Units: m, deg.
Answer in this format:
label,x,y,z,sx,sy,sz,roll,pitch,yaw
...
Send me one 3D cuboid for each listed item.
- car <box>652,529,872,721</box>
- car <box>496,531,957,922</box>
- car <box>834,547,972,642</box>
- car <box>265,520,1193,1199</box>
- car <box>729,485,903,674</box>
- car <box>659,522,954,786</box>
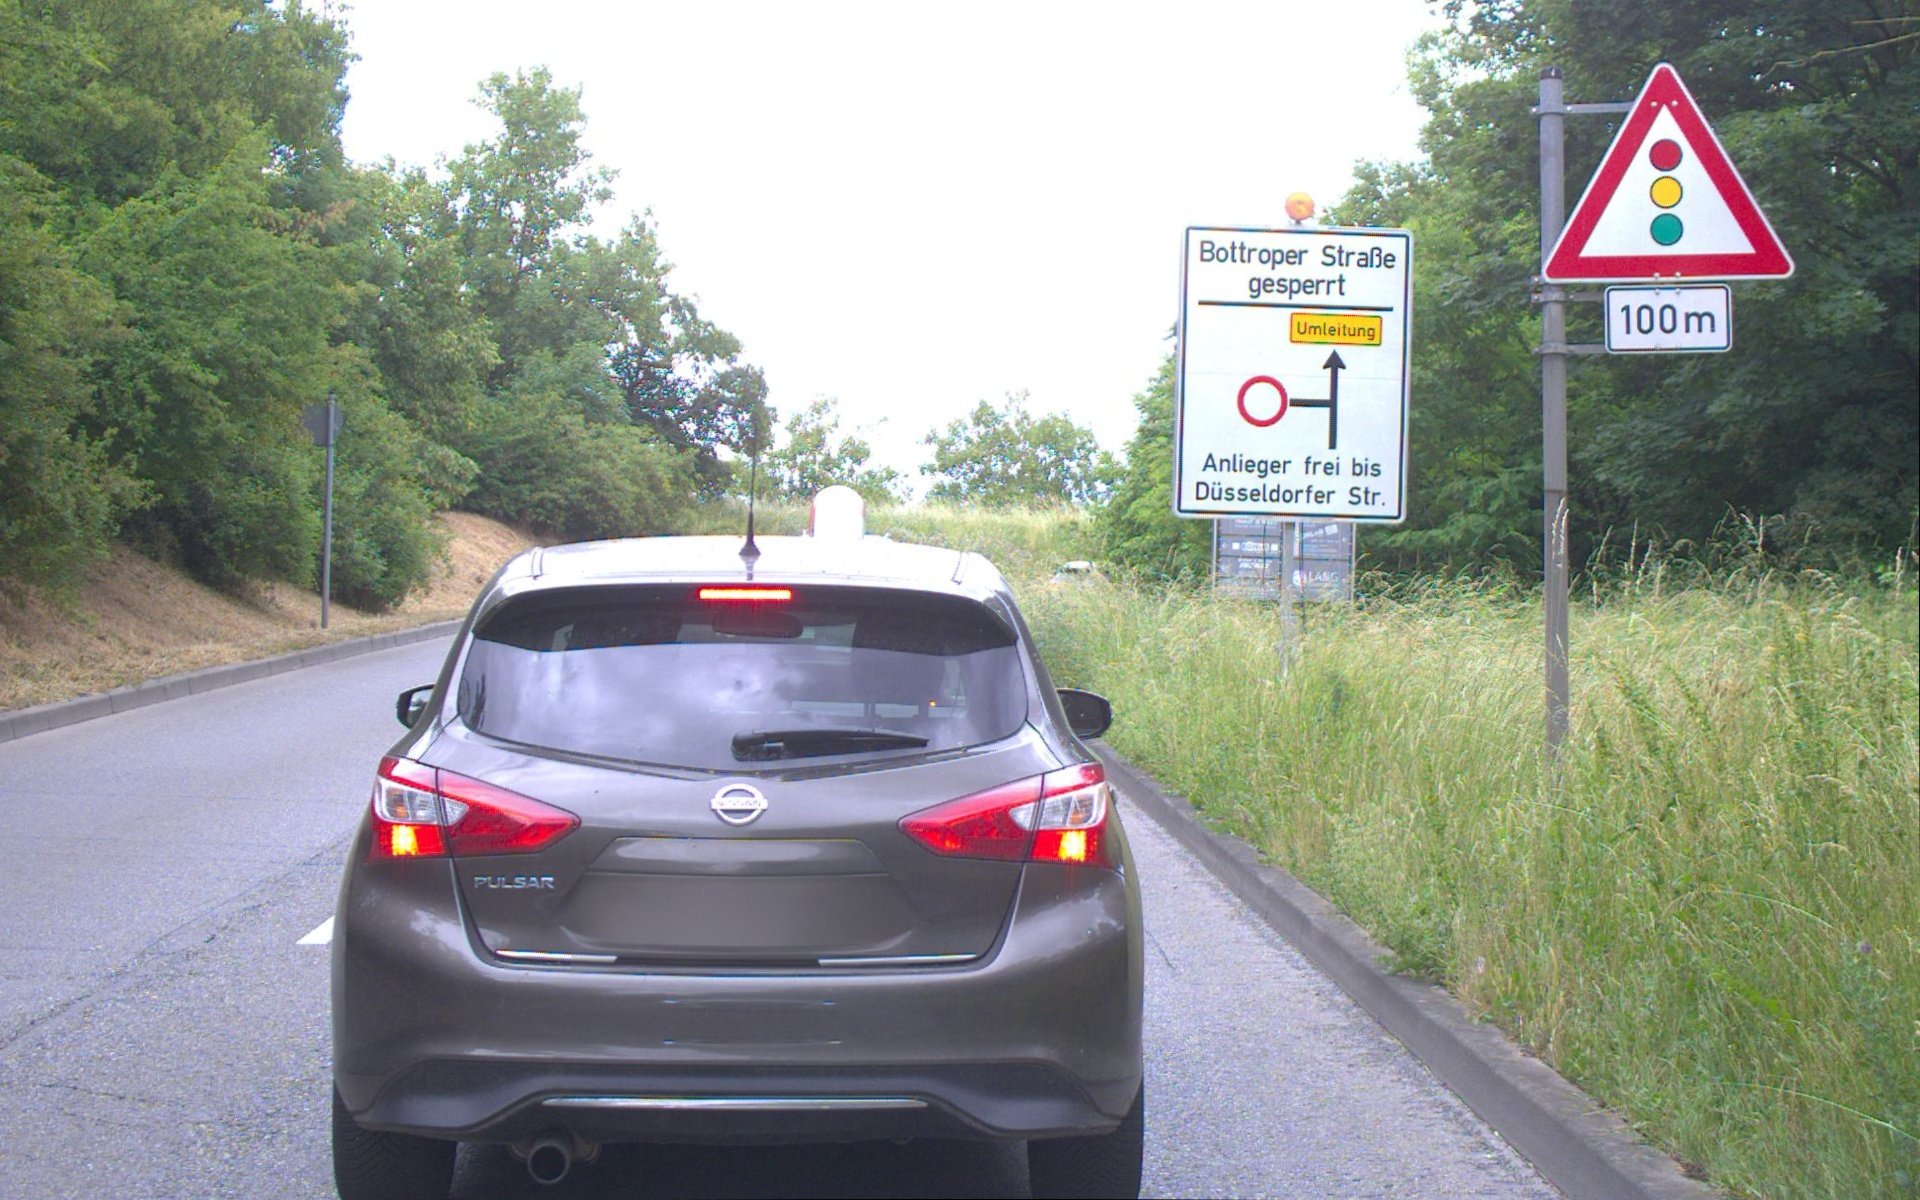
label,x,y,z,sx,sy,sz,roll,pitch,yaw
car,-1.649,0.168,29.680,1.736,1.551,3.544,0,1,-1
car,-0.952,0.470,15.507,1.830,1.551,3.625,0,1,-1
car,-0.918,-0.120,57.651,1.736,1.521,3.640,0,1,9
car,-0.542,0.593,8.589,1.830,1.551,3.500,1,1,-3
car,-1.502,-0.242,36.947,1.736,1.928,3.544,0,1,0
car,-0.928,0.284,22.068,1.736,1.551,3.544,0,1,-1
